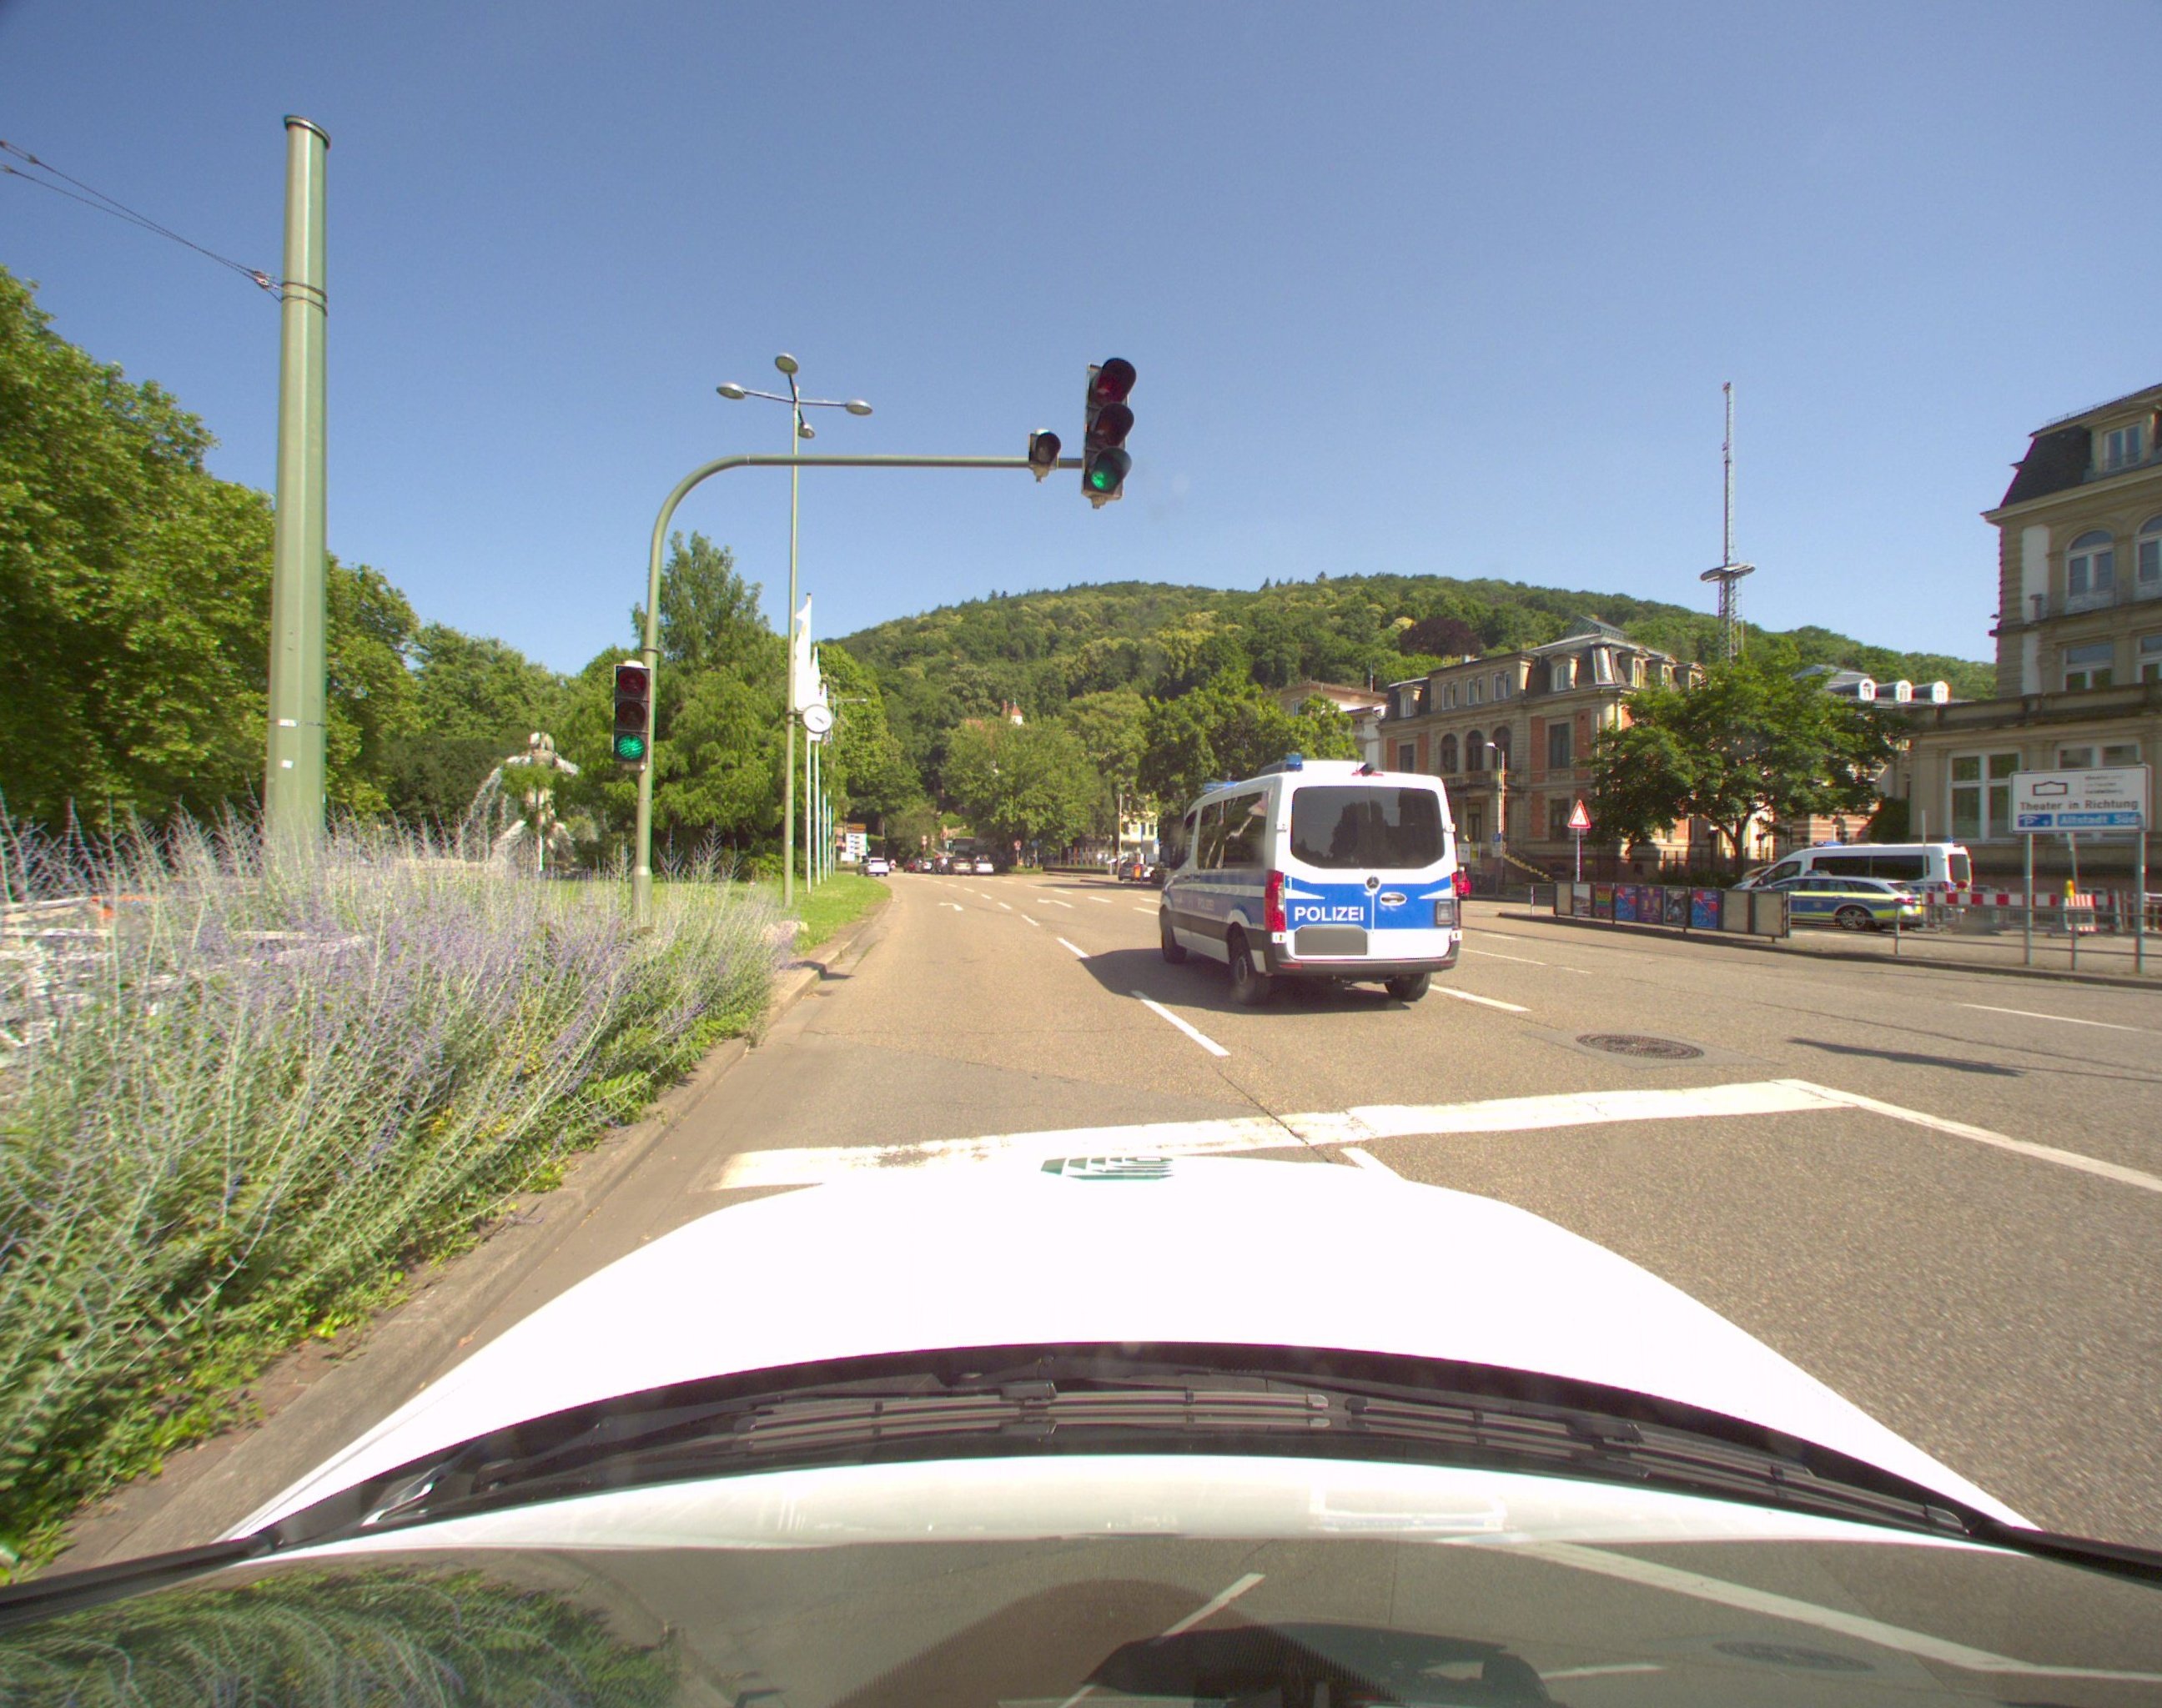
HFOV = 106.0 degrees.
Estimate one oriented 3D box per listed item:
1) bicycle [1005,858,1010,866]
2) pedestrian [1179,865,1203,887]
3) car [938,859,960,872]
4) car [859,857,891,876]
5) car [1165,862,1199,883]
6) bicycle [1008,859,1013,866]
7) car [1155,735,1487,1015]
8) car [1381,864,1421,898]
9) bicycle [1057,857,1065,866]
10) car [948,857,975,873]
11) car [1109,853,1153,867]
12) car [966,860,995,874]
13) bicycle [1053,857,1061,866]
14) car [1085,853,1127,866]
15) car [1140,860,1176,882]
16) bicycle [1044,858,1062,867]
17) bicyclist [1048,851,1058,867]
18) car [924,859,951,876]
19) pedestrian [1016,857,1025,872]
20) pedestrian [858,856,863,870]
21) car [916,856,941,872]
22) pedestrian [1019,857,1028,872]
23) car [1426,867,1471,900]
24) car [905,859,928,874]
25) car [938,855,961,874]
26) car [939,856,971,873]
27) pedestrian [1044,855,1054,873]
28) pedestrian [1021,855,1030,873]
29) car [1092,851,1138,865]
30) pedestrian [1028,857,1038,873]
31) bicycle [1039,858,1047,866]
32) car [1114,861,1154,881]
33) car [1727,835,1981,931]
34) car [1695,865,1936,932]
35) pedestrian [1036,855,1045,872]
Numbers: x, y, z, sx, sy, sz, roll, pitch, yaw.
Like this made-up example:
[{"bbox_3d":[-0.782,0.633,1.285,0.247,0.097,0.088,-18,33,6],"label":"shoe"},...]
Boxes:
[{"bbox_3d":[-9.792,1.059,108.323,0.406,1.012,1.332,0,0,-20],"label":"bicycle"},{"bbox_3d":[5.992,1.185,44.337,1.027,1.198,0.782,1,-1,-41],"label":"pedestrian"},{"bbox_3d":[-15.186,1.293,93.542,1.762,1.461,3.470,1,0,-21],"label":"car"},{"bbox_3d":[-16.319,0.951,64.434,1.850,1.460,3.466,1,0,-24],"label":"car"},{"bbox_3d":[7.225,1.296,57.888,1.695,1.442,3.828,1,0,17],"label":"car"},{"bbox_3d":[-9.208,1.075,106.365,0.406,0.941,1.332,0,0,-20],"label":"bicycle"},{"bbox_3d":[2.445,0.223,9.869,2.071,2.509,4.916,1,-1,-7],"label":"car"},{"bbox_3d":[16.173,1.322,41.061,1.729,1.575,3.899,1,0,24],"label":"car"},{"bbox_3d":[-2.544,0.992,105.390,0.539,1.085,1.823,0,0,-18],"label":"bicycle"},{"bbox_3d":[-11.416,1.062,77.634,1.762,1.461,3.620,1,0,-21],"label":"car"},{"bbox_3d":[4.996,0.584,81.848,4.102,1.336,1.808,0,0,-23],"label":"car"},{"bbox_3d":[-8.974,1.156,72.521,1.762,1.213,3.470,1,0,-21],"label":"car"},{"bbox_3d":[-3.104,0.994,105.173,0.539,1.085,1.823,0,0,-18],"label":"bicycle"},{"bbox_3d":[2.728,0.580,88.778,4.163,1.476,1.862,0,0,-25],"label":"car"},{"bbox_3d":[5.743,1.254,60.471,1.694,1.511,3.830,1,0,20],"label":"car"},{"bbox_3d":[-3.451,1.028,99.558,2.075,1.112,0.755,0,0,-9],"label":"bicycle"},{"bbox_3d":[-3.445,0.621,99.556,1.125,1.932,0.746,0,-1,-8],"label":"bicyclist"},{"bbox_3d":[-12.912,1.207,73.177,1.762,1.461,3.470,1,0,-21],"label":"car"},{"bbox_3d":[-6.508,1.140,87.338,0.773,1.663,0.824,1,-1,-20],"label":"pedestrian"},{"bbox_3d":[-26.552,1.060,97.991,0.547,1.621,0.632,0,0,-11],"label":"pedestrian"},{"bbox_3d":[-14.549,0.978,77.556,1.762,1.461,3.620,1,0,-21],"label":"car"},{"bbox_3d":[-6.255,1.149,88.433,0.773,1.663,0.824,1,-1,-20],"label":"pedestrian"},{"bbox_3d":[17.248,1.323,38.114,1.727,1.418,3.722,1,0,27],"label":"car"},{"bbox_3d":[-16.767,1.254,82.836,1.762,1.461,3.470,1,0,-21],"label":"car"},{"bbox_3d":[-13.854,1.038,85.474,1.762,1.938,3.470,1,0,-21],"label":"car"},{"bbox_3d":[-10.462,0.859,67.450,1.764,1.334,3.772,1,0,-24],"label":"car"},{"bbox_3d":[-3.421,1.054,87.460,0.774,1.854,0.823,1,-1,-22],"label":"pedestrian"},{"bbox_3d":[-5.860,1.051,86.465,0.773,1.854,0.824,1,-1,-19],"label":"pedestrian"},{"bbox_3d":[3.488,0.408,83.979,4.485,1.336,1.808,0,0,-23],"label":"car"},{"bbox_3d":[-5.135,1.158,86.995,0.773,1.663,0.824,1,-1,-19],"label":"pedestrian"},{"bbox_3d":[-4.928,1.000,104.638,0.539,1.085,1.823,0,0,-18],"label":"bicycle"},{"bbox_3d":[4.105,1.255,62.562,1.805,1.461,4.130,1,0,24],"label":"car"},{"bbox_3d":[23.211,0.789,24.755,2.005,2.603,5.268,1,0,-29],"label":"car"},{"bbox_3d":[20.907,1.186,23.441,1.828,1.626,4.833,1,0,-30],"label":"car"},{"bbox_3d":[-4.332,1.006,87.227,0.774,1.854,0.823,1,-1,-22],"label":"pedestrian"}]
